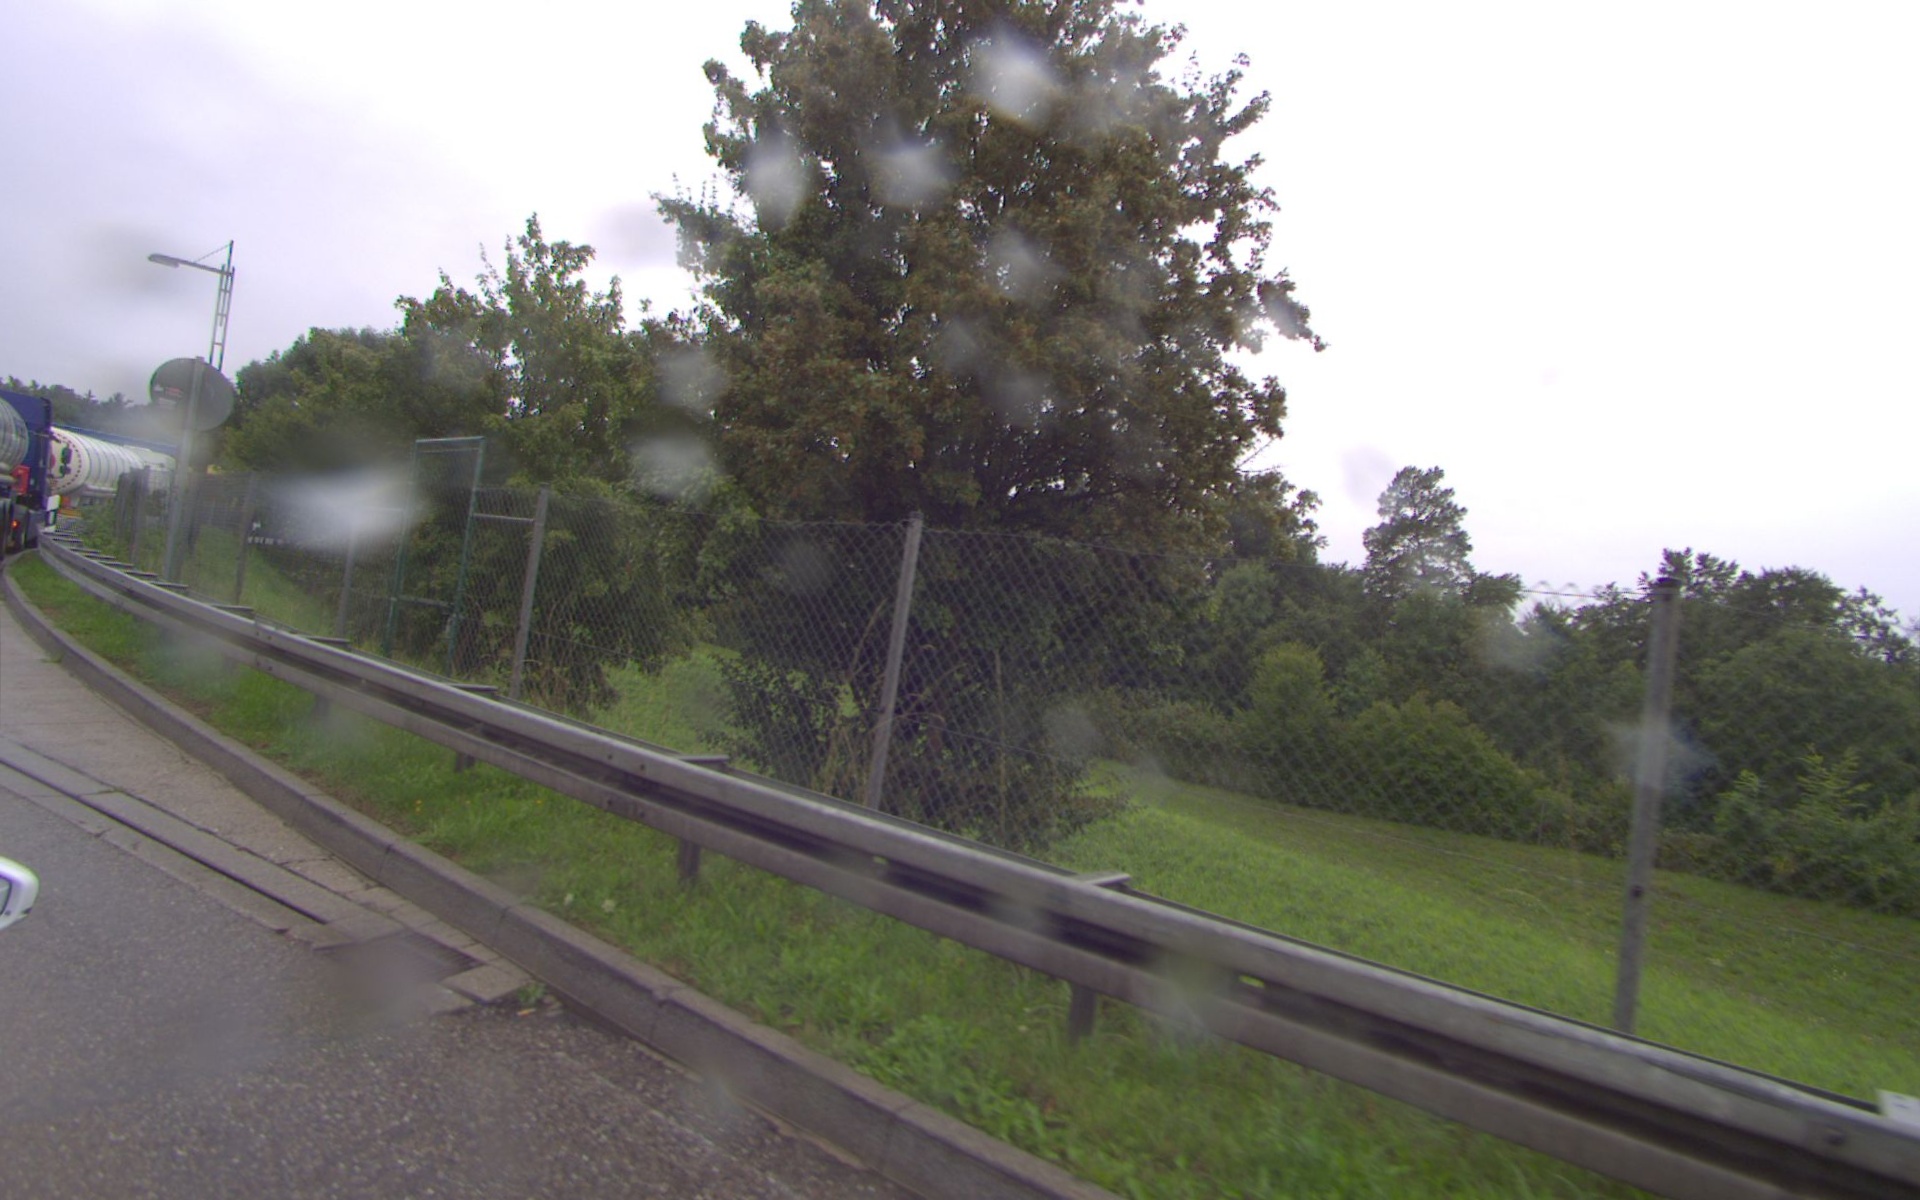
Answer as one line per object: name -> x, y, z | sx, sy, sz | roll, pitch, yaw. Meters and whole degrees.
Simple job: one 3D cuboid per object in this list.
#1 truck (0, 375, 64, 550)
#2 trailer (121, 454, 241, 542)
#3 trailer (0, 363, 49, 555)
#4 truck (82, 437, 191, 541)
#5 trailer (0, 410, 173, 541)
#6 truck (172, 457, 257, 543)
truck -> -21.981, -3.122, 22.630 | 2.044, 3.572, 4.695 | 8, -1, -38
trailer -> -37.162, -4.737, 48.291 | 2.160, 3.433, 7.526 | 8, -1, -21
trailer -> -18.366, -2.572, 18.006 | 1.972, 3.262, 10.212 | 8, -1, -38
truck -> -32.617, -4.281, 40.019 | 2.129, 3.555, 4.613 | 8, -1, -28
trailer -> -29.680, -3.945, 34.525 | 2.114, 3.481, 10.179 | 8, -1, -28
truck -> -38.713, -5.113, 52.380 | 2.159, 3.874, 4.121 | 8, 0, -21
